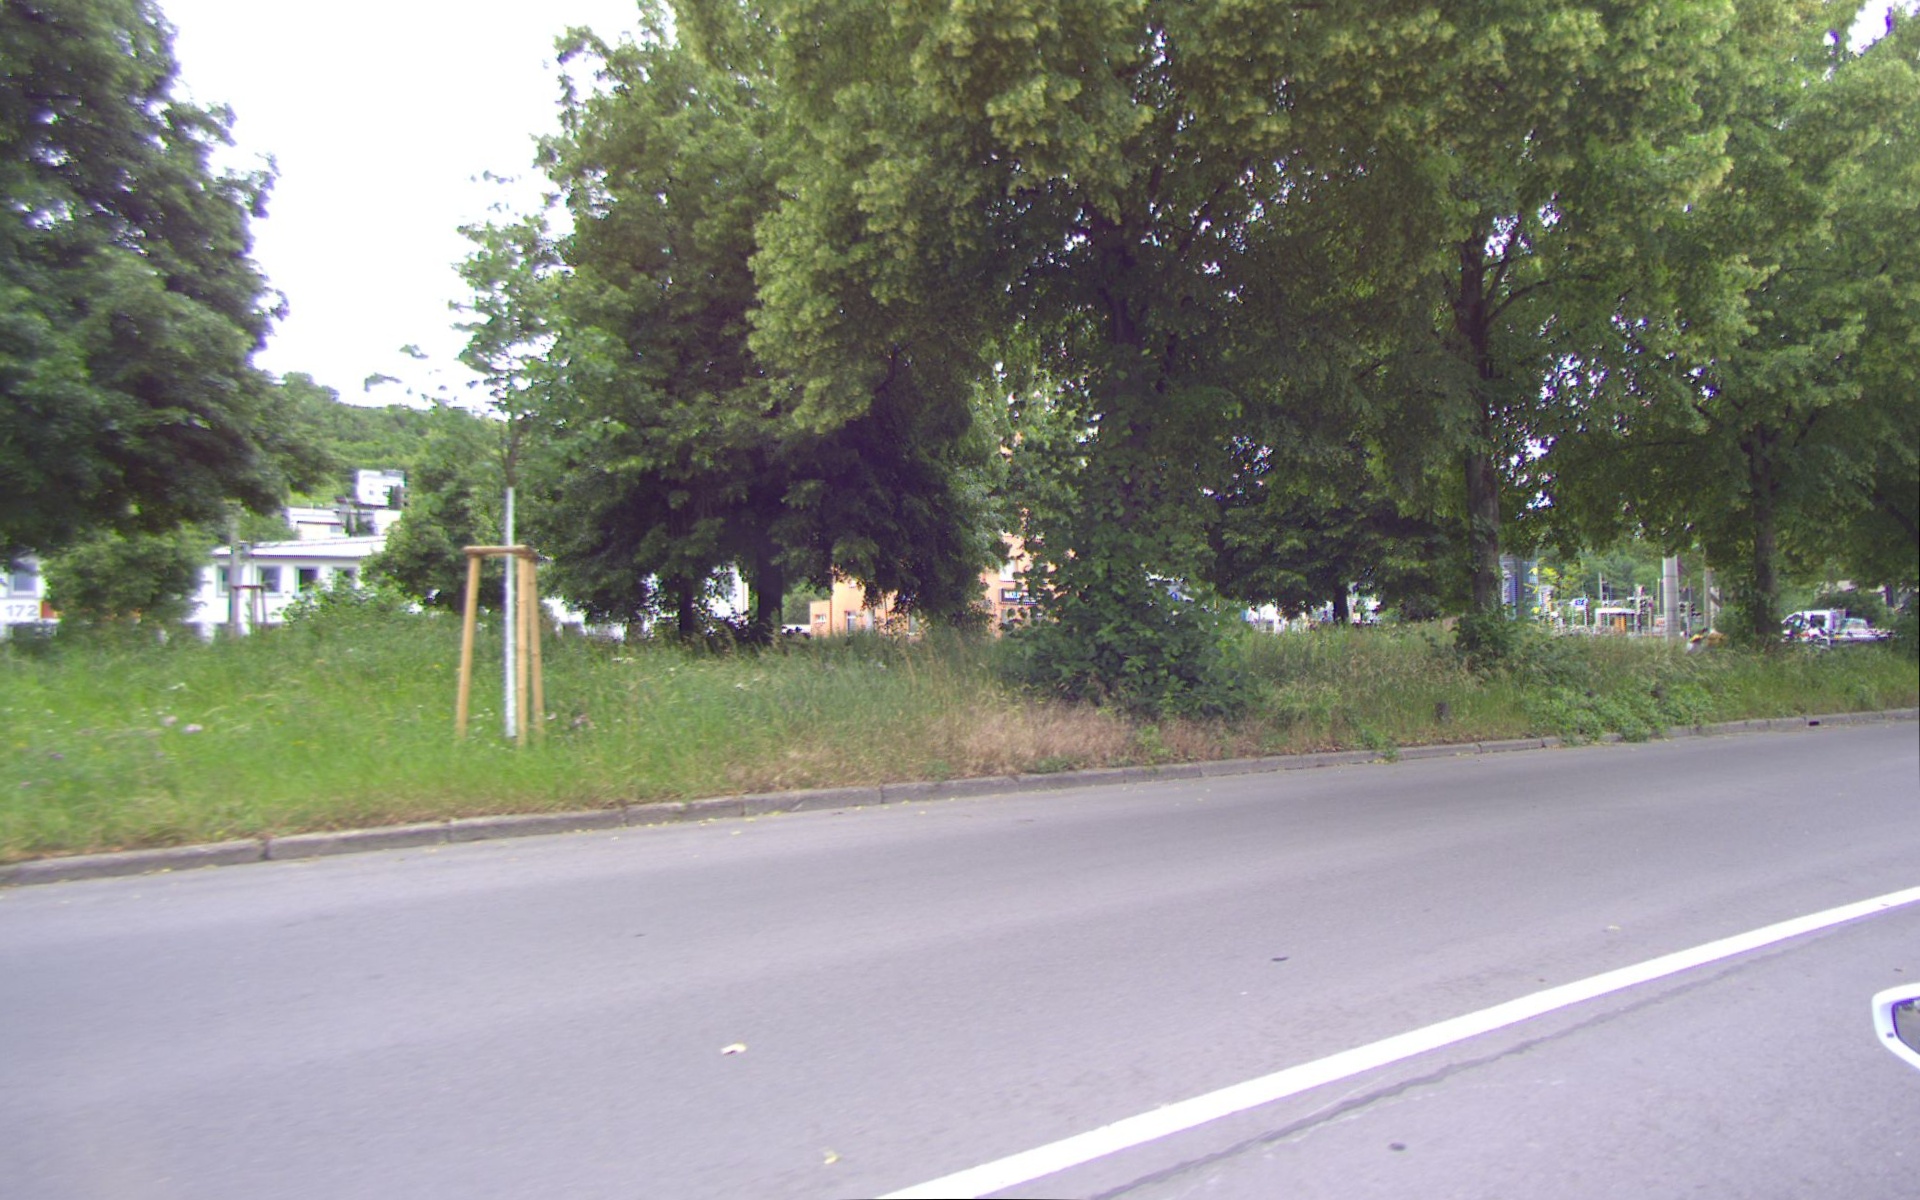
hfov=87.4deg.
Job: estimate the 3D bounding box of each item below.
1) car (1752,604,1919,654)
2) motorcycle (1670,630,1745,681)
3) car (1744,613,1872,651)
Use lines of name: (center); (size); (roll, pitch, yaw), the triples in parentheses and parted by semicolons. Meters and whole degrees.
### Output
car: (44.703, 1.519, 51.477); (2.370, 2.418, 6.035); (0, -3, -34)
motorcycle: (18.276, 1.346, 24.555); (2.008, 1.183, 0.564); (0, -2, -25)
car: (46.585, 1.773, 55.313); (2.019, 1.967, 4.969); (0, -2, -22)
